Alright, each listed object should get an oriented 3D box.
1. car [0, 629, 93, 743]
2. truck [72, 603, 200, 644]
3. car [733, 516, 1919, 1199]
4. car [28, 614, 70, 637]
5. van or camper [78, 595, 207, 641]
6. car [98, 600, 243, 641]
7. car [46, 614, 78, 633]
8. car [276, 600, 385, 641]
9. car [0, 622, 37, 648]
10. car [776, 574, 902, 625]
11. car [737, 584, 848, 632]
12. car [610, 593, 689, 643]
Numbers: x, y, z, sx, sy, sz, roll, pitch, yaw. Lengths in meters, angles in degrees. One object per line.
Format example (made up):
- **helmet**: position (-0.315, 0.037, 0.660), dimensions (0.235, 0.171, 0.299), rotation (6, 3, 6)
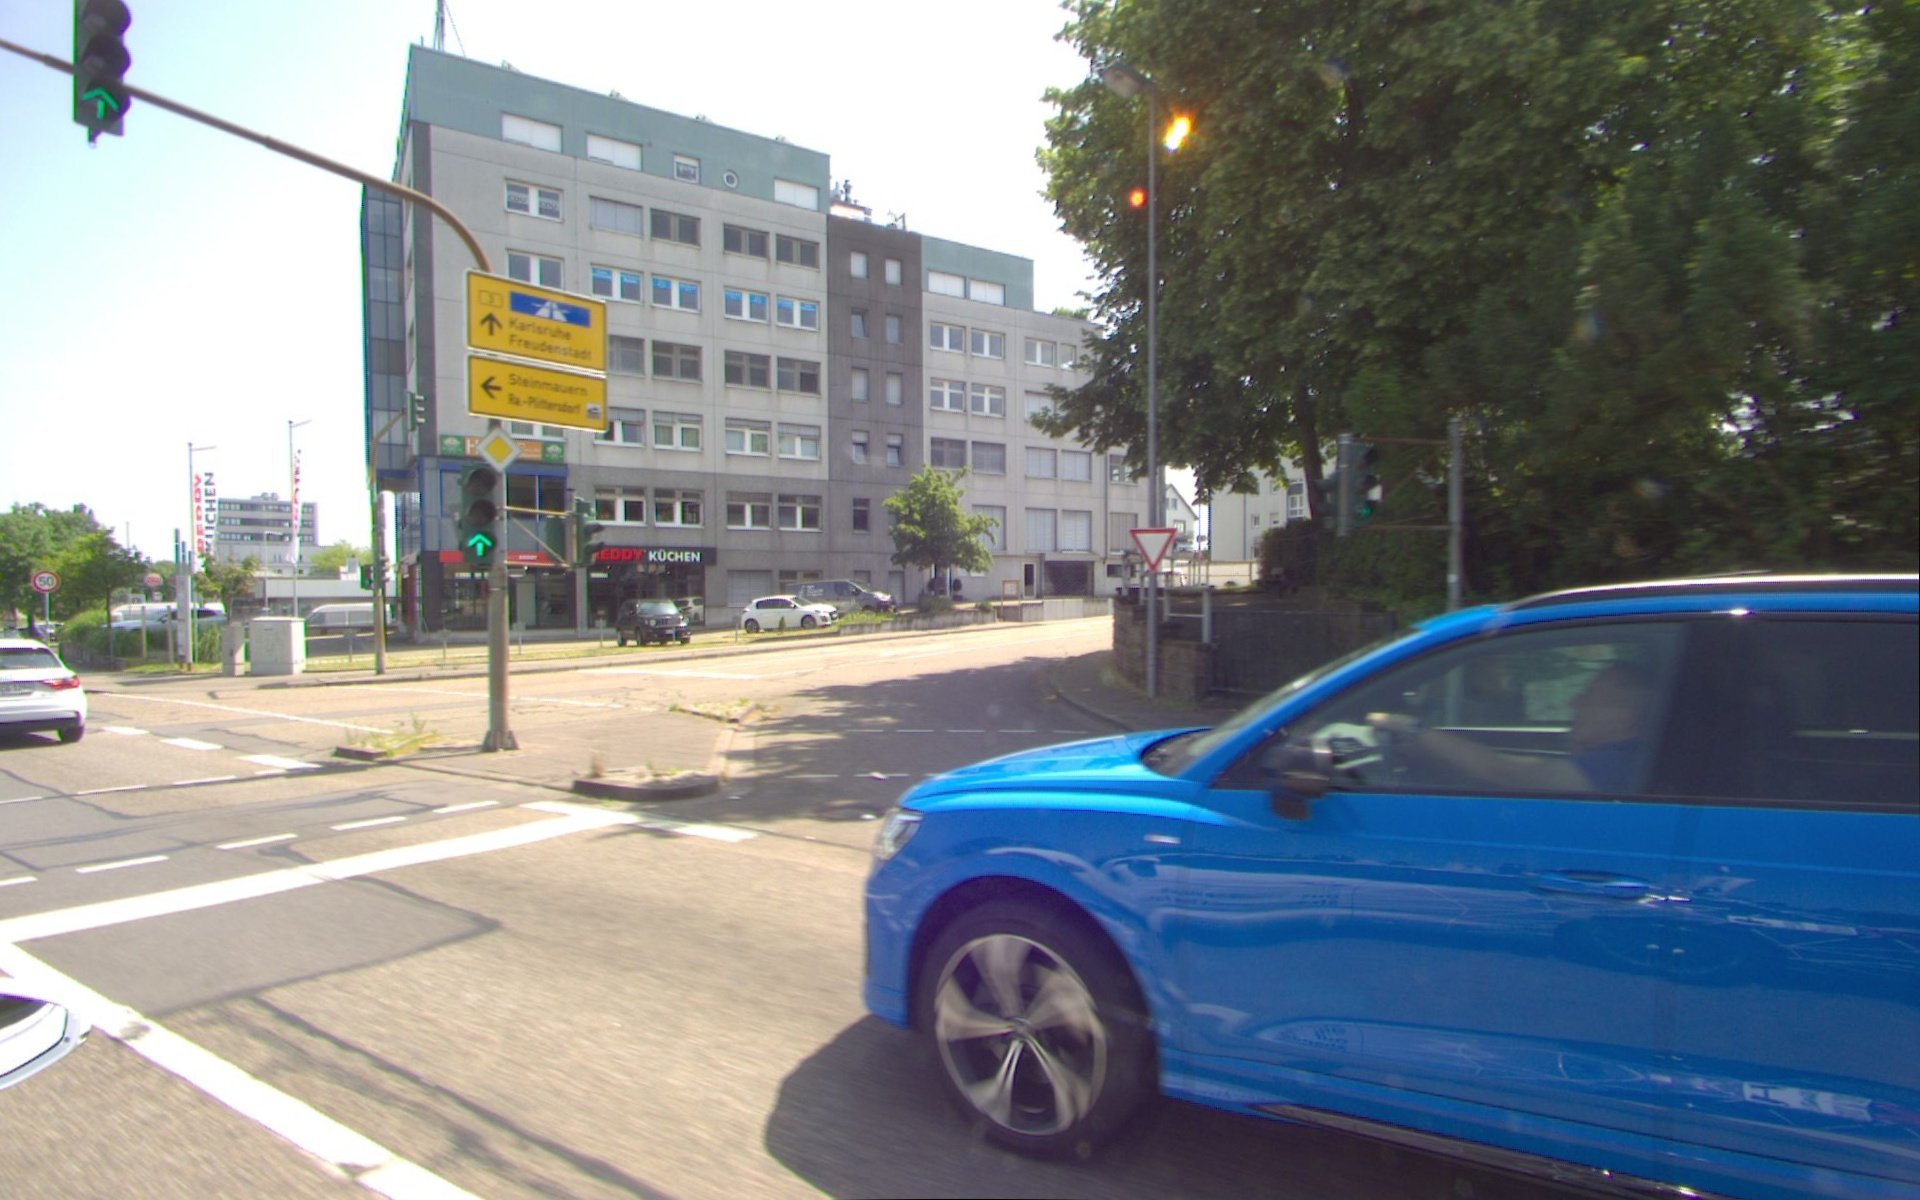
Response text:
- **car**: position (-13.536, 1.118, 13.776), dimensions (3.744, 1.417, 1.662), rotation (-1, -1, 37)
- **truck**: position (-53.500, 1.490, 65.225), dimensions (6.186, 2.369, 2.351), rotation (-2, 2, -36)
- **car**: position (1.571, 0.667, 2.976), dimensions (4.333, 1.618, 1.908), rotation (-1, 0, 33)
- **car**: position (-73.617, 2.040, 81.008), dimensions (1.942, 1.551, 5.122), rotation (-4, 2, -37)
- **van or camper**: position (-56.085, 1.184, 68.925), dimensions (6.736, 2.937, 2.257), rotation (-1, 2, -38)
- **car**: position (-35.251, 0.952, 44.837), dimensions (1.969, 1.735, 4.723), rotation (-1, -2, 27)
- **car**: position (-77.006, 1.959, 85.915), dimensions (1.840, 1.501, 5.112), rotation (-1, 0, -40)
- **car**: position (-40.175, 1.320, 64.033), dimensions (5.829, 2.560, 2.106), rotation (1, -2, -35)
- **car**: position (-55.105, 1.997, 58.208), dimensions (1.783, 1.424, 4.286), rotation (1, -1, -38)
- **car**: position (-5.225, 0.008, 43.410), dimensions (5.095, 2.063, 1.890), rotation (0, -2, 14)
- **car**: position (-6.840, 0.356, 41.082), dimensions (4.149, 1.551, 1.543), rotation (-5, -3, 14)
- **car**: position (-11.271, 0.643, 36.148), dimensions (1.524, 1.697, 4.301), rotation (0, -1, -34)
